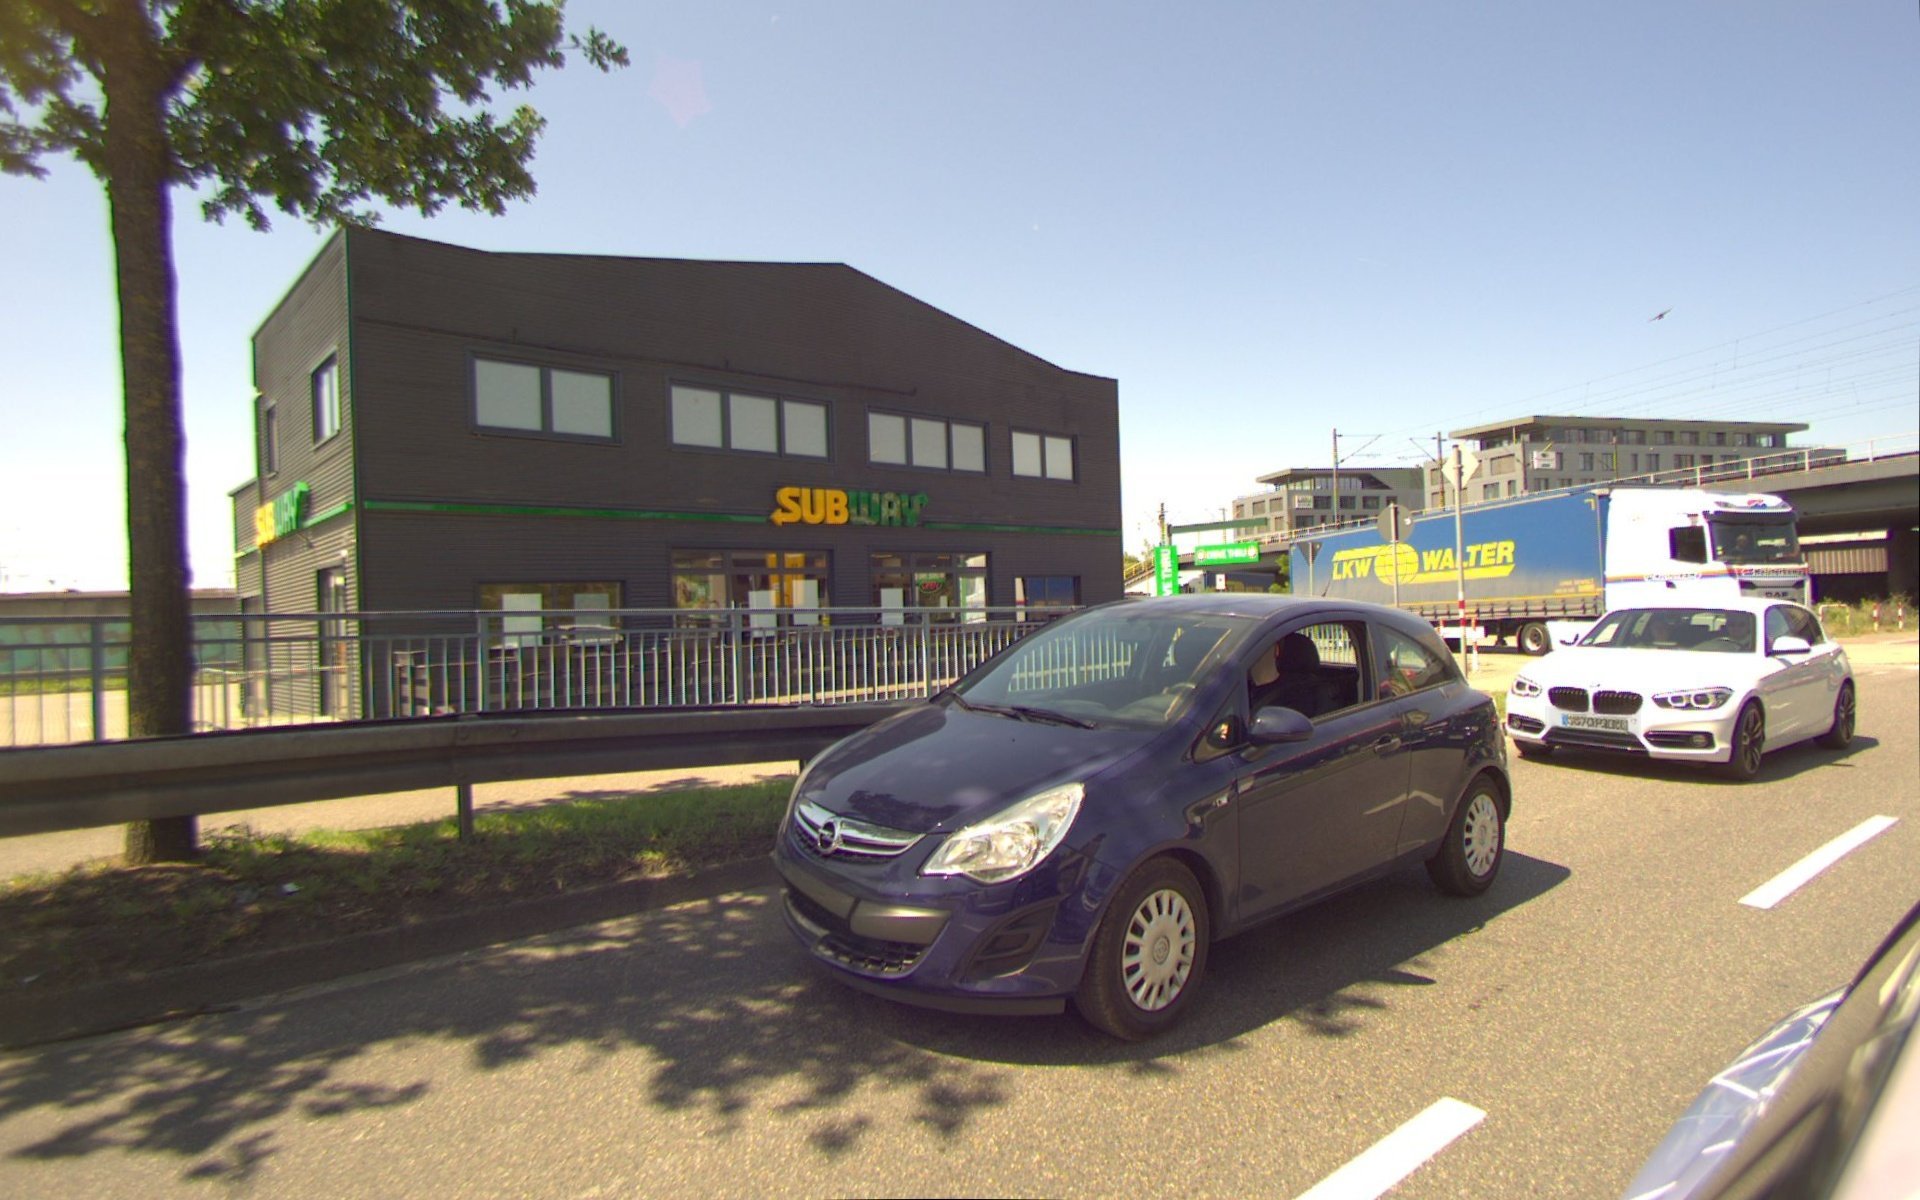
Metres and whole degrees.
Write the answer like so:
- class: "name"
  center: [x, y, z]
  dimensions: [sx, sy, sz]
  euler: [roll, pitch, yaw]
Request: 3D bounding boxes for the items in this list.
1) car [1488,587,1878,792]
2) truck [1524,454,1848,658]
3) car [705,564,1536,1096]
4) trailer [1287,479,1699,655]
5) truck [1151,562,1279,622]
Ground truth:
- class: "car"
  center: [6.726, 0.629, 9.289]
  dimensions: [3.977, 1.461, 1.764]
  euler: [-1, 2, -36]
- class: "truck"
  center: [16.618, -0.852, 23.742]
  dimensions: [2.522, 4.155, 5.771]
  euler: [-1, -2, -13]
- class: "car"
  center: [0.965, 0.629, 4.646]
  dimensions: [3.821, 1.462, 1.649]
  euler: [0, -1, -39]
- class: "trailer"
  center: [14.906, -0.697, 30.856]
  dimensions: [2.448, 4.142, 13.929]
  euler: [-1, -1, -13]
- class: "truck"
  center: [20.164, -0.699, 78.560]
  dimensions: [2.738, 4.155, 17.200]
  euler: [-1, 0, 38]
